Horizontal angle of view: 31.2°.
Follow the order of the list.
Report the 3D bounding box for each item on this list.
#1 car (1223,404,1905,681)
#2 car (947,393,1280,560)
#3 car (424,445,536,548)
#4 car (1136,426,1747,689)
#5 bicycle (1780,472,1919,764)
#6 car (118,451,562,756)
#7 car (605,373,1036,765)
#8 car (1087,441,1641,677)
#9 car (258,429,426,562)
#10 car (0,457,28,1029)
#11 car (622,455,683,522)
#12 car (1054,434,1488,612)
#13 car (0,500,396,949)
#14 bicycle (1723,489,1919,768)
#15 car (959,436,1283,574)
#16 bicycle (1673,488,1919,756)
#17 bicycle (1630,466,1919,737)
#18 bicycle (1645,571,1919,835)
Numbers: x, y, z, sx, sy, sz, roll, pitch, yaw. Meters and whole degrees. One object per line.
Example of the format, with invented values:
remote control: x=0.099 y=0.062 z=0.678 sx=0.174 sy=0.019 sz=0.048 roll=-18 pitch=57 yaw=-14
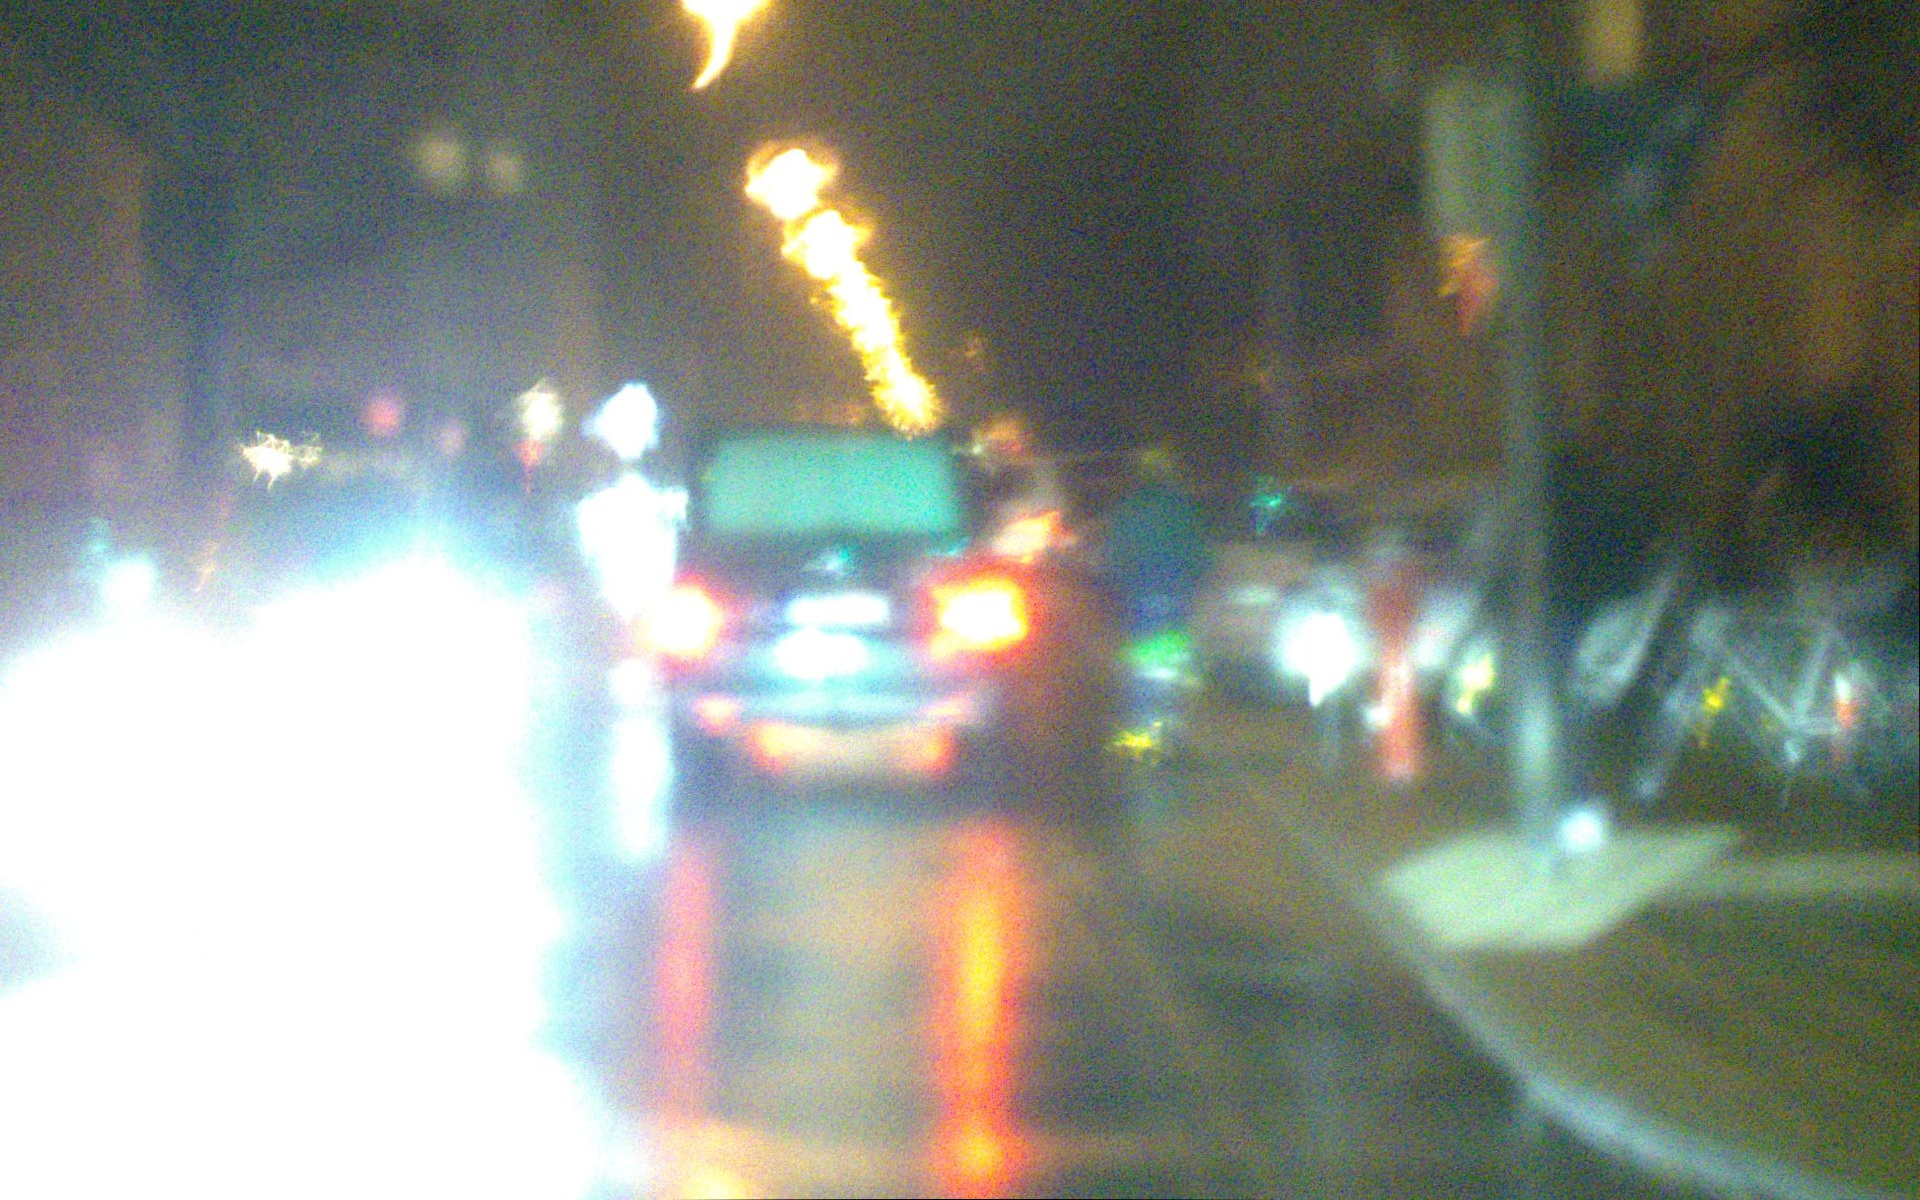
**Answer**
car: x=3.845 y=-0.415 z=21.551 sx=4.174 sy=1.452 sz=1.857 roll=-5 pitch=4 yaw=-38
car: x=2.461 y=-1.980 z=54.340 sx=4.995 sy=2.383 sz=2.139 roll=-5 pitch=4 yaw=-38
car: x=-9.506 y=-2.064 z=67.940 sx=1.724 sy=1.965 sz=3.729 roll=-1 pitch=3 yaw=-15
car: x=3.471 y=-0.356 z=24.403 sx=4.174 sy=1.571 sz=1.882 roll=-5 pitch=4 yaw=-38
bicycle: x=4.742 y=0.033 z=15.418 sx=1.896 sy=1.247 sz=0.711 roll=-3 pitch=2 yaw=-5
car: x=-3.463 y=-0.081 z=20.092 sx=1.787 sy=1.548 sz=4.855 roll=-1 pitch=2 yaw=-1
car: x=-0.735 y=-0.250 z=19.799 sx=2.168 sy=1.965 sz=4.302 roll=-1 pitch=2 yaw=0
car: x=3.233 y=-0.373 z=27.167 sx=4.173 sy=1.584 sz=1.731 roll=-4 pitch=4 yaw=-33
car: x=-9.676 y=-1.649 z=53.589 sx=1.990 sy=1.965 sz=4.303 roll=-1 pitch=3 yaw=-18
car: x=-3.449 y=0.471 z=7.611 sx=1.668 sy=1.556 sz=4.008 roll=-1 pitch=2 yaw=0
car: x=-9.249 y=-3.372 z=103.629 sx=1.724 sy=1.965 sz=4.222 roll=-1 pitch=2 yaw=-4
car: x=3.290 y=-0.849 z=36.414 sx=4.171 sy=1.639 sz=1.771 roll=-3 pitch=3 yaw=-21
car: x=-3.324 y=0.357 z=13.319 sx=1.668 sy=1.415 sz=4.098 roll=-1 pitch=2 yaw=-1
bicycle: x=4.664 y=0.098 z=16.315 sx=1.896 sy=1.247 sz=0.596 roll=-3 pitch=2 yaw=-5
car: x=2.207 y=-1.306 z=46.428 sx=4.174 sy=1.639 sz=1.769 roll=-5 pitch=4 yaw=-38
bicycle: x=4.581 y=0.081 z=17.075 sx=1.896 sy=1.247 sz=0.596 roll=-3 pitch=2 yaw=-5
bicycle: x=4.632 y=-0.012 z=18.421 sx=1.896 sy=1.355 sz=0.596 roll=-3 pitch=2 yaw=-5
bicycle: x=4.576 y=0.508 z=17.764 sx=1.896 sy=1.247 sz=0.596 roll=-3 pitch=2 yaw=-5
